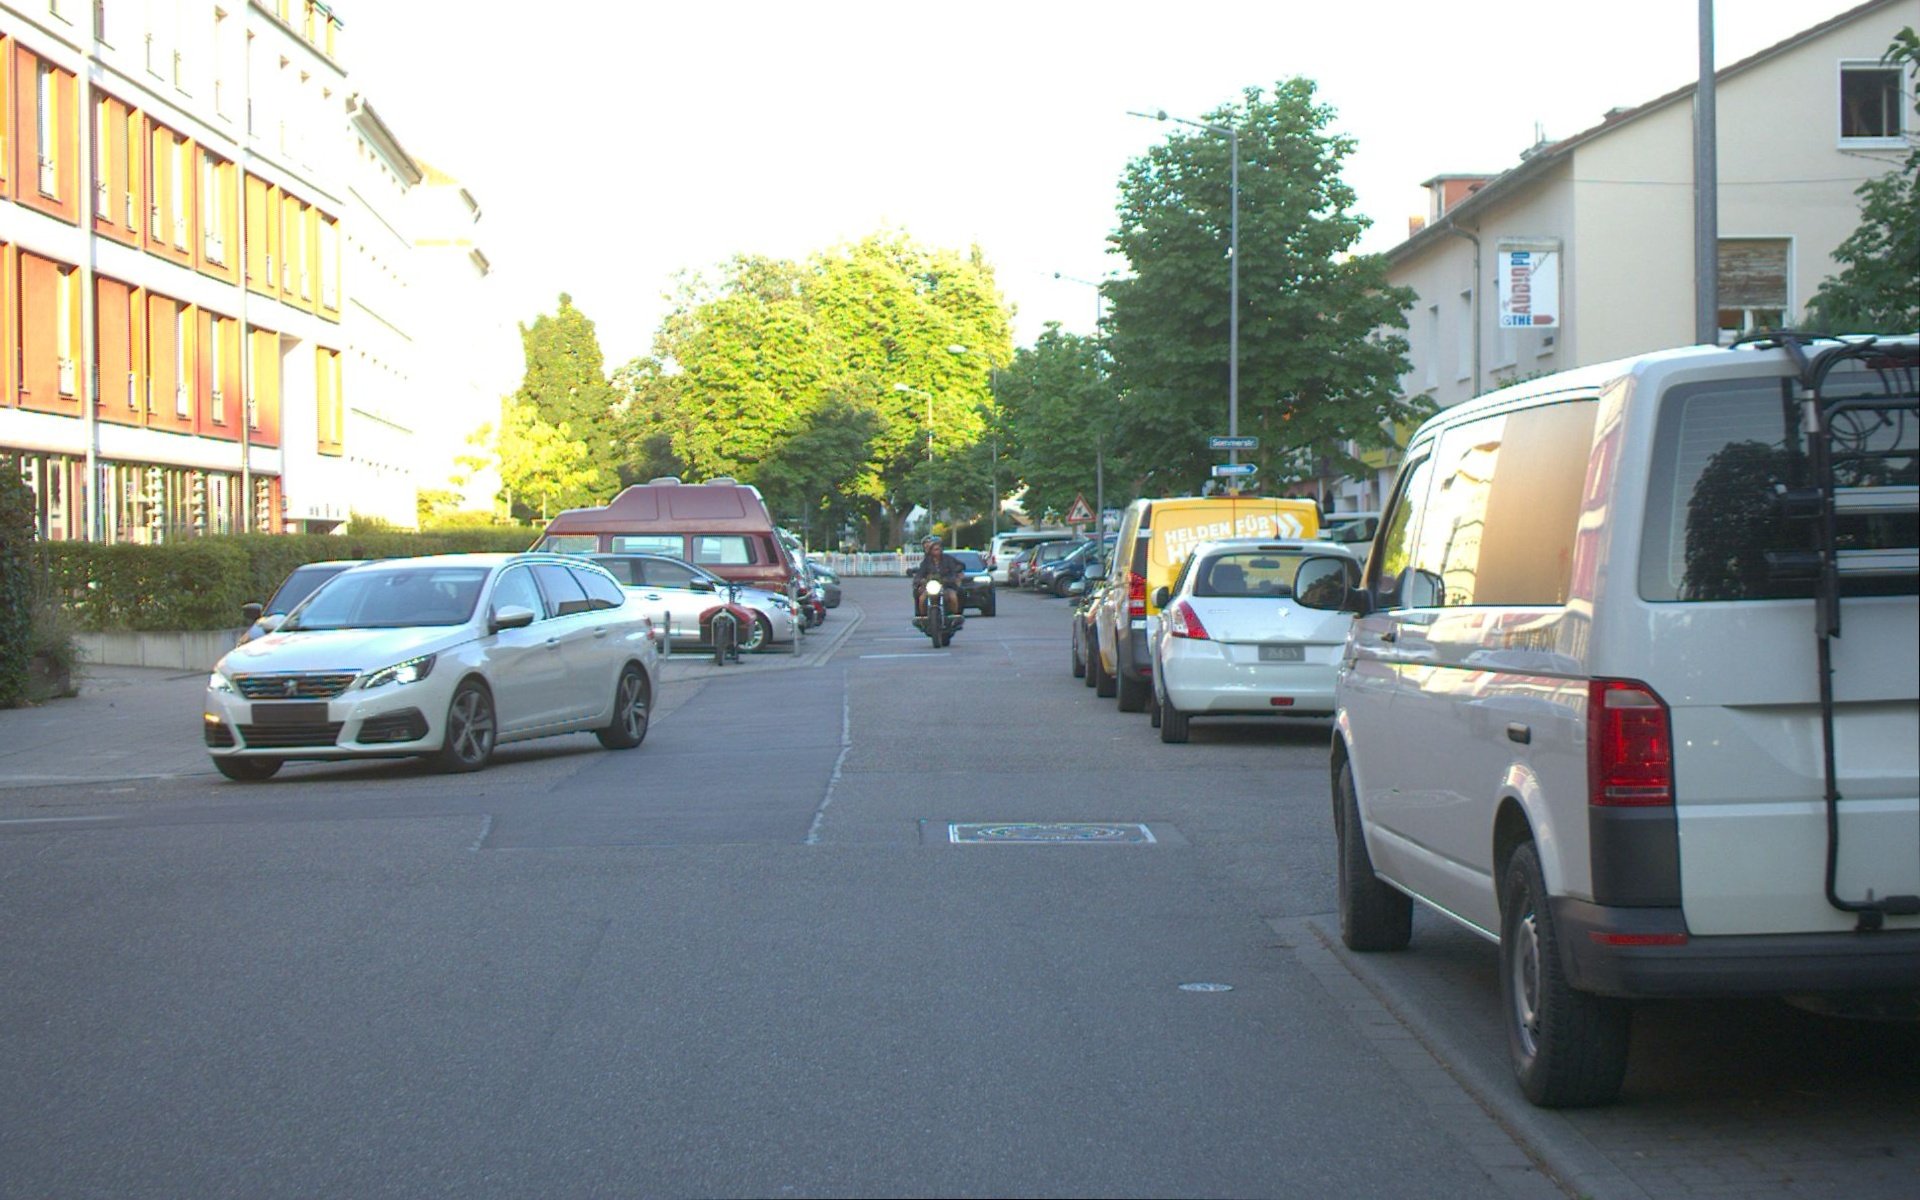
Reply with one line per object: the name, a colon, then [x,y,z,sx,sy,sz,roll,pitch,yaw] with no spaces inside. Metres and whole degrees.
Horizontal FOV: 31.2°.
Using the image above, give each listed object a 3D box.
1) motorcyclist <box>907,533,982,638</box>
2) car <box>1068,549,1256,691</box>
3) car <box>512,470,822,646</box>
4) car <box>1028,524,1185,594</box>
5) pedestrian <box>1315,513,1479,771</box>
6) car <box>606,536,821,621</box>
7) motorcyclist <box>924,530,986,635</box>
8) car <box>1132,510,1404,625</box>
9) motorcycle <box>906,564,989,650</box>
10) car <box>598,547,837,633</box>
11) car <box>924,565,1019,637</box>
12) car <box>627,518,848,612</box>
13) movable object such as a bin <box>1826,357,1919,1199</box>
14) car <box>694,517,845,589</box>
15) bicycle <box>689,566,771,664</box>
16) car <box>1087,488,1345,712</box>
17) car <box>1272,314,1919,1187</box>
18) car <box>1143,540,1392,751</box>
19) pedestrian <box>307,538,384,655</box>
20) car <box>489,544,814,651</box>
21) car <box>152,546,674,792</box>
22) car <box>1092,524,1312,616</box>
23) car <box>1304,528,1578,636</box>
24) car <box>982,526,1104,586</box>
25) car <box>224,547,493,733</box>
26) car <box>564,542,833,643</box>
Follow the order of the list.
motorcyclist: [-0.233,-0.219,51.310,0.890,1.500,0.969,-3,0,10]
car: [2.121,0.173,37.075,1.721,1.419,4.253,1,1,-1]
car: [-4.456,-0.651,52.763,4.511,2.575,2.000,1,1,1]
car: [4.403,-1.238,103.846,4.478,1.905,1.688,-2,1,-5]
pedestrian: [3.002,0.274,23.576,0.889,1.716,0.958,1,1,21]
car: [-5.053,-0.449,70.841,4.256,1.654,2.000,1,1,0]
motorcyclist: [-0.077,-0.271,52.067,0.787,1.535,0.545,-3,0,10]
car: [5.890,-0.629,66.254,4.990,1.976,2.220,-2,1,0]
motorcycle: [-0.180,0.094,51.611,0.846,1.205,2.074,-3,1,9]
car: [-4.401,-0.191,62.947,4.209,1.484,1.850,1,1,1]
car: [0.282,0.005,78.300,1.780,1.512,3.999,-2,1,5]
car: [-4.992,-0.802,77.748,4.850,2.014,1.906,1,1,0]
movable object such as a bin: [2.553,0.457,5.964,1.412,1.871,2.325,-2,1,-1]
car: [-5.868,-1.464,106.252,4.533,2.127,2.000,1,1,0]
bicycle: [-2.988,0.177,44.890,0.808,1.217,2.865,1,1,1]
car: [2.245,-0.036,31.423,1.893,1.877,5.082,0,1,-1]
car: [2.279,0.295,10.905,1.861,2.032,5.545,-2,1,-2]
car: [2.265,0.288,26.094,1.675,1.472,3.861,0,1,2]
pedestrian: [-7.993,-0.056,44.739,0.832,1.496,0.798,1,1,0]
car: [-4.467,-0.048,50.117,4.615,1.455,1.881,1,1,-3]
car: [-3.673,0.413,24.019,1.816,1.518,4.595,-1,1,16]
car: [5.691,-0.718,81.419,4.944,1.951,2.049,-2,1,-2]
car: [7.534,-0.289,54.104,4.050,1.509,1.756,-2,3,1]
car: [2.860,-1.540,119.464,3.967,1.905,2.049,-2,1,-5]
car: [-5.211,0.298,30.210,1.703,1.529,3.844,0,1,0]
car: [-4.172,-0.130,55.337,4.209,1.533,1.791,1,1,-2]
